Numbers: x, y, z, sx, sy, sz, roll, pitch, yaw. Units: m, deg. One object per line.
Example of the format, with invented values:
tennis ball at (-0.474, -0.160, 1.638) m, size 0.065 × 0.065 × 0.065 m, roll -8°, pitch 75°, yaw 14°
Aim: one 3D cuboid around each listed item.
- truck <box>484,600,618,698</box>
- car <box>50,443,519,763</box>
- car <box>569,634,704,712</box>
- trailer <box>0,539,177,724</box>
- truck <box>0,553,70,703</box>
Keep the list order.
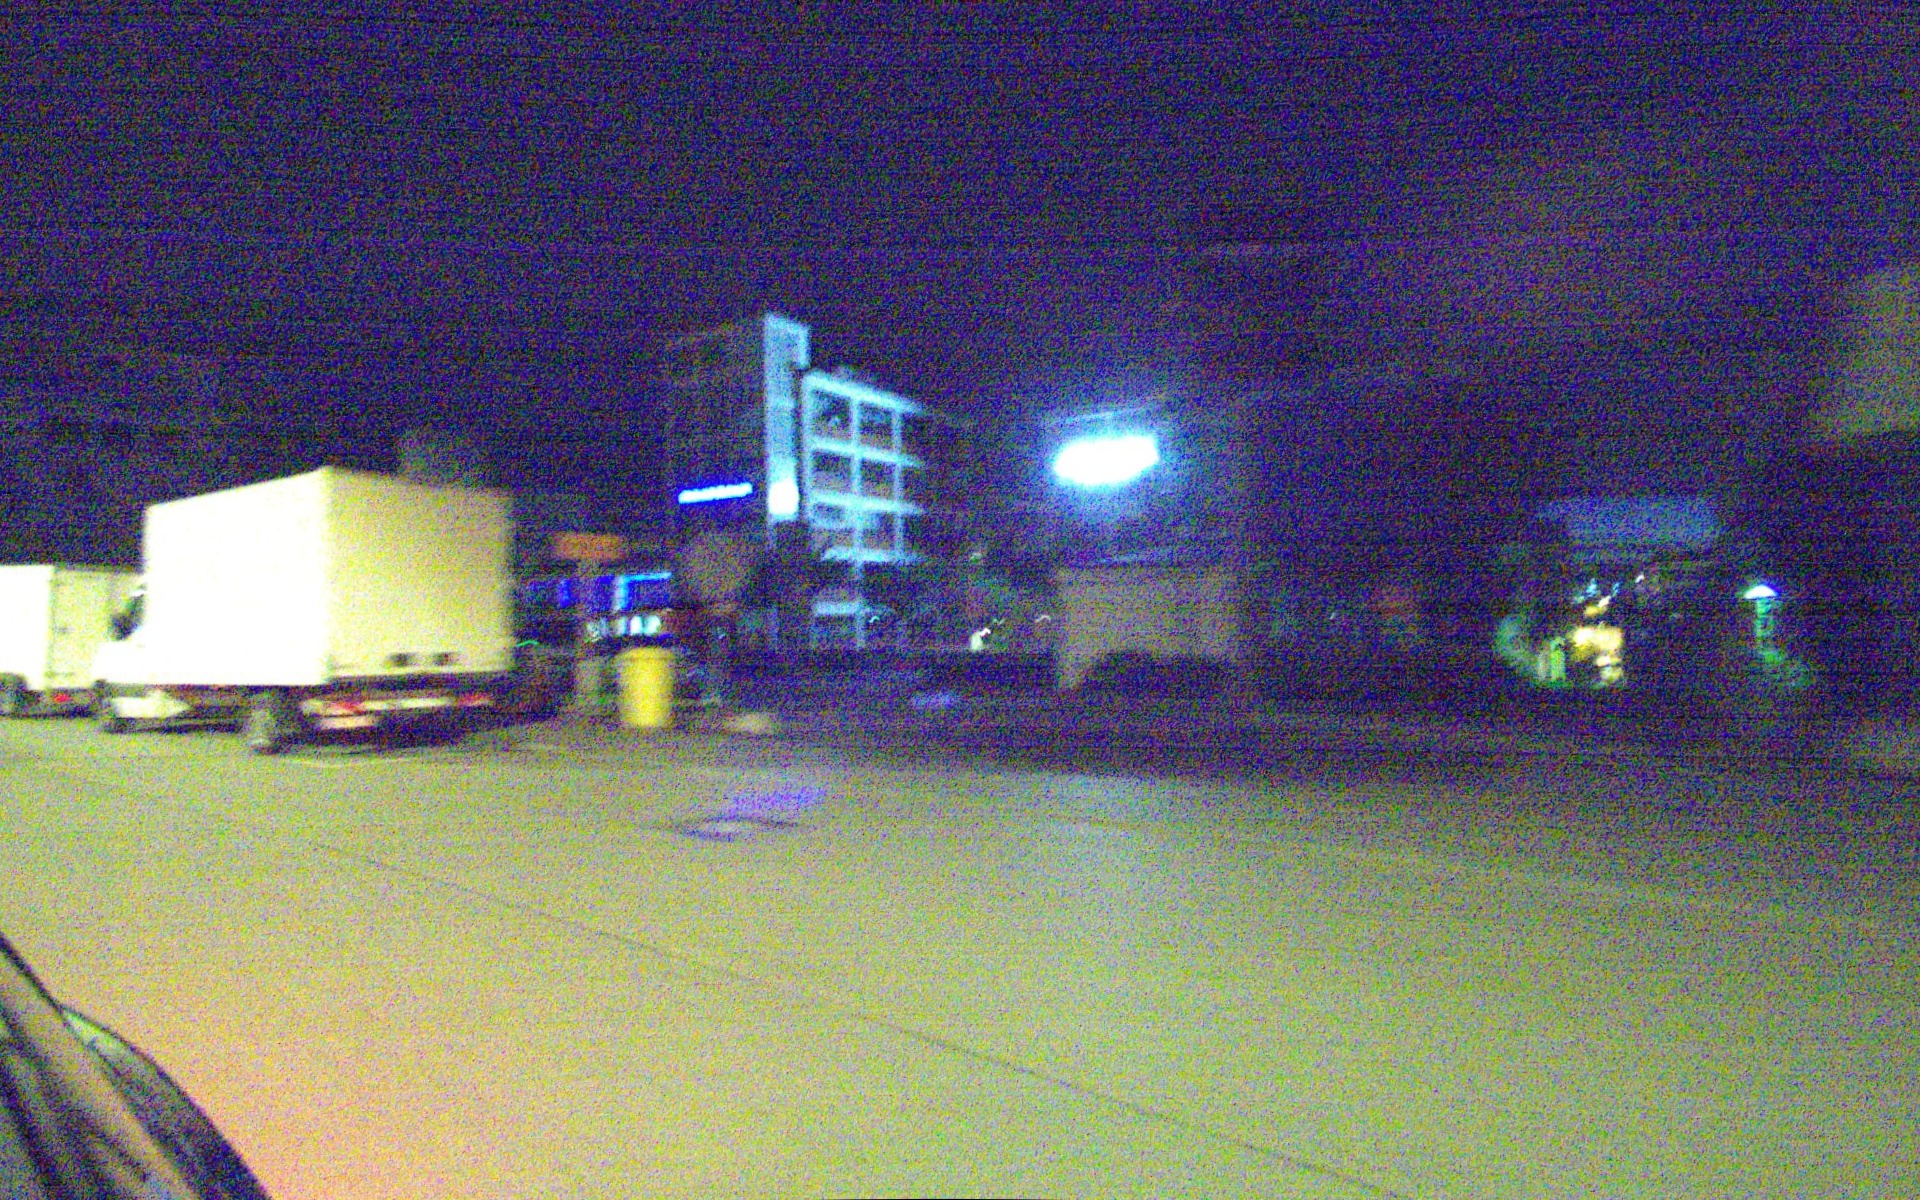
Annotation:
truck at (-12.549, 1.417, 30.703) m, size 2.104 × 2.633 × 7.116 m, roll 1°, pitch -2°, yaw -36°
car at (-9.050, 0.096, 13.257) m, size 7.207 × 3.268 × 2.364 m, roll -1°, pitch -1°, yaw 32°
car at (-7.783, 1.654, 24.113) m, size 1.833 × 1.652 × 4.008 m, roll 1°, pitch -2°, yaw -37°
trailer at (-15.190, 0.550, 17.186) m, size 3.994 × 2.787 × 1.978 m, roll -2°, pitch -3°, yaw 38°
truck at (-20.987, 0.593, 20.833) m, size 7.219 × 2.805 × 1.978 m, roll -1°, pitch -2°, yaw 32°
